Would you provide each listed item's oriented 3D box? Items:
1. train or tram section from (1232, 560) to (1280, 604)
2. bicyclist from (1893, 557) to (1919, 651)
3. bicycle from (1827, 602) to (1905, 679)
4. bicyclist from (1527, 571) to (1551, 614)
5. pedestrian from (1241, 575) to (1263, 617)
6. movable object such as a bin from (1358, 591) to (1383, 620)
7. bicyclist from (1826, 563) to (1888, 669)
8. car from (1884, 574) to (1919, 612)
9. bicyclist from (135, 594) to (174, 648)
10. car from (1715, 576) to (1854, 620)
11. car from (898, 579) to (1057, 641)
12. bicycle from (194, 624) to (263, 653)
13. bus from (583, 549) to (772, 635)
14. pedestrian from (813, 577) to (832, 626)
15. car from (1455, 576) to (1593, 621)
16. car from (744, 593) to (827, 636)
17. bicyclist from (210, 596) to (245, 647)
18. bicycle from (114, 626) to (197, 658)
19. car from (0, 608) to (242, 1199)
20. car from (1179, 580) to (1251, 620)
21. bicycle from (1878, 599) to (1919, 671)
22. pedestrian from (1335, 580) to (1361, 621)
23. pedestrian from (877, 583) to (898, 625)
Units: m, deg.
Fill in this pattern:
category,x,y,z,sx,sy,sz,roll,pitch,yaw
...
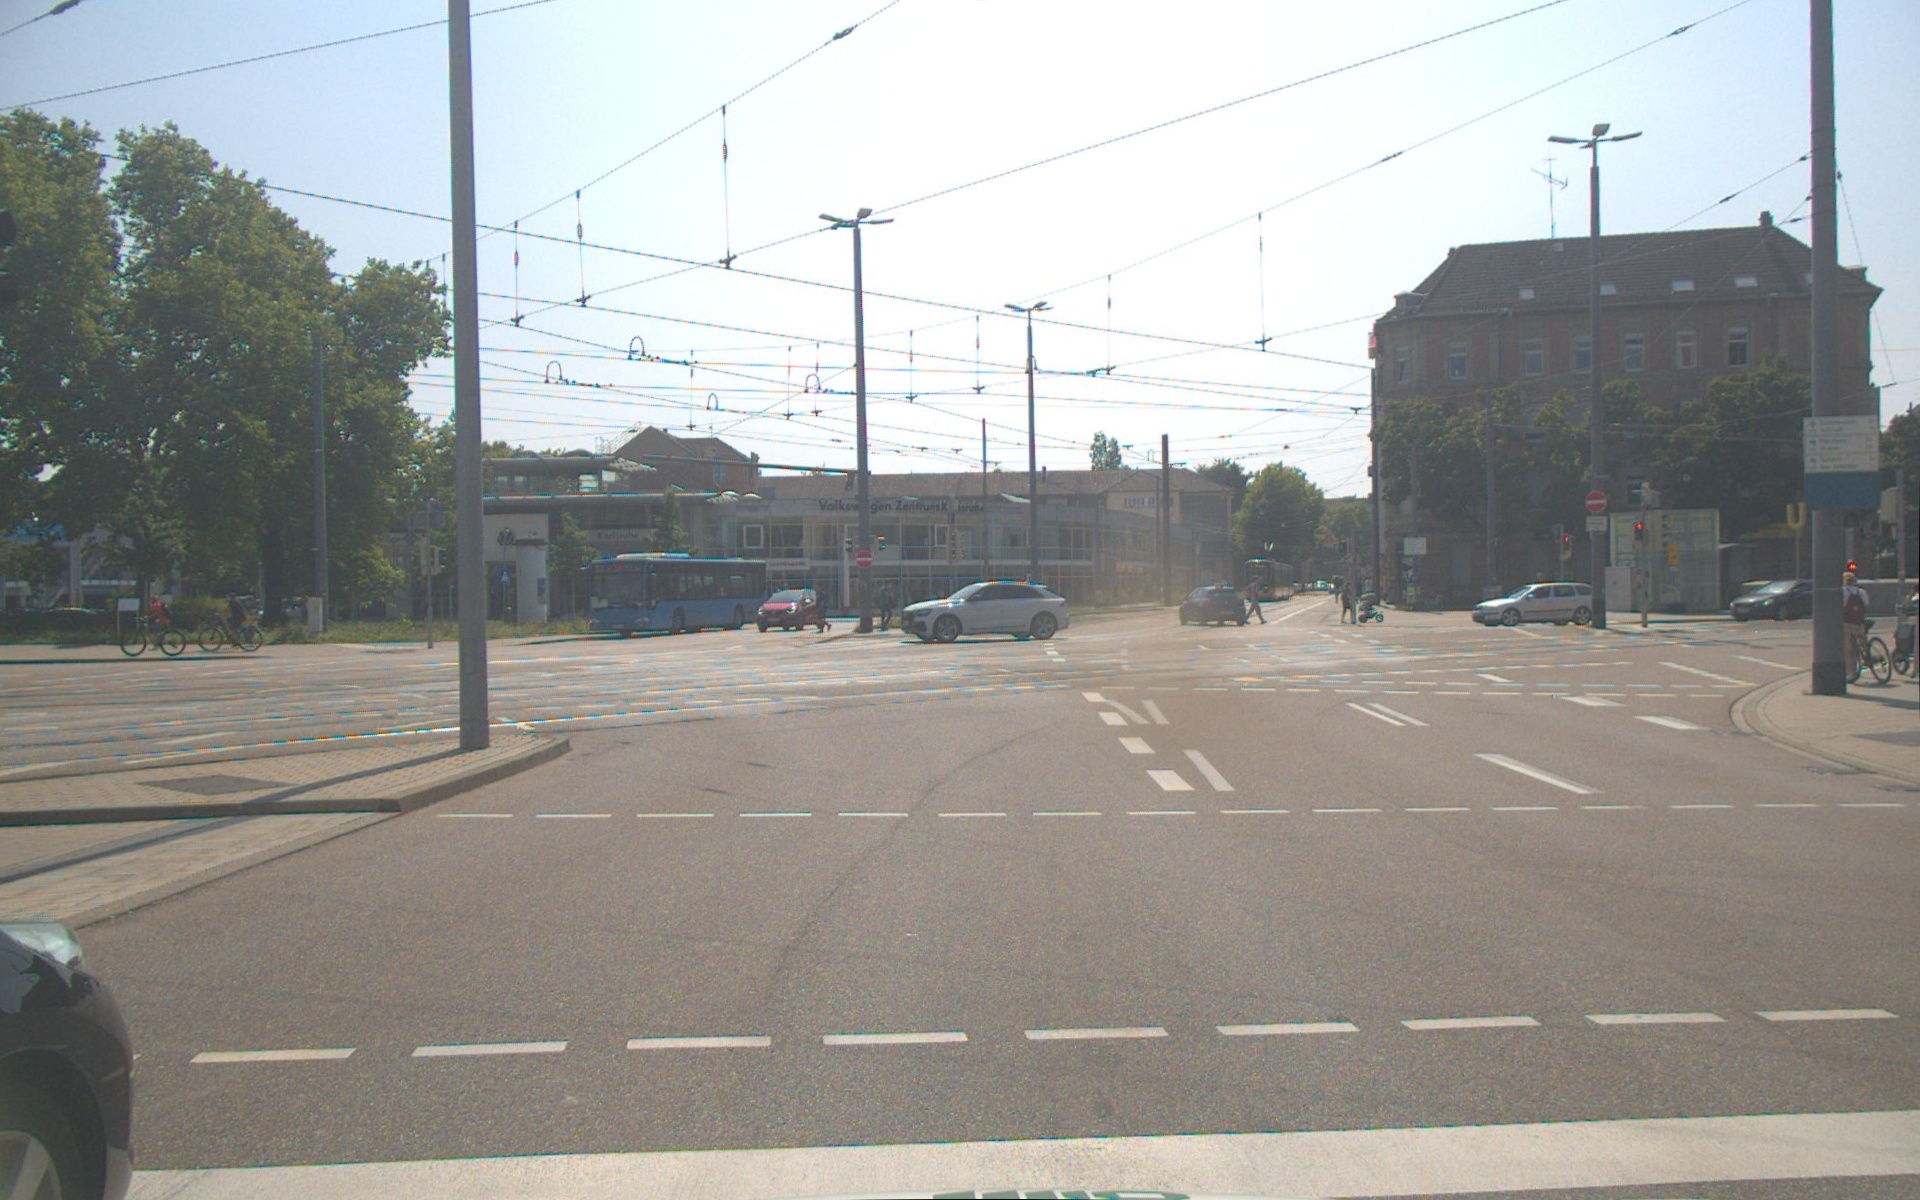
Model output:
category,x,y,z,sx,sy,sz,roll,pitch,yaw
train or tram section,25.439,-1.505,141.765,2.534,3.578,10.904,-1,0,18
bicyclist,14.840,0.057,25.509,0.519,1.417,0.894,-1,0,11
bicycle,13.390,0.580,24.479,0.525,1.073,1.655,-1,0,12
bicyclist,21.336,-0.286,60.949,0.603,1.555,0.517,-1,0,-25
pedestrian,11.392,-0.160,64.479,0.686,1.631,0.572,-1,0,-8
movable object such as a bin,15.944,0.211,64.201,0.798,1.096,0.510,-1,0,-11
bicyclist,13.402,0.236,24.737,0.614,1.544,0.712,-1,0,11
car,37.923,-0.301,64.017,4.137,1.440,1.761,-1,0,-26
bicyclist,-22.691,0.583,46.593,0.856,1.509,0.496,-1,0,-13
car,29.653,-0.084,59.476,4.684,1.440,1.765,-1,0,-20
car,0.503,0.275,47.592,4.256,1.646,1.745,-1,0,-19
bicycle,-21.734,1.135,49.174,1.828,0.816,0.604,-1,0,-19
bus,-11.118,-0.343,66.856,2.508,3.136,12.031,-1,0,16
pedestrian,-4.872,0.060,58.474,0.544,1.713,0.452,-1,0,-19
car,19.200,-0.058,56.430,4.094,1.440,1.774,-1,0,-5
car,-6.673,0.539,63.732,1.713,1.579,4.002,-1,0,17
bicyclist,-21.770,0.641,49.162,0.857,1.501,0.543,-1,0,-19
bicycle,-22.658,1.177,46.597,2.013,0.816,0.478,-1,0,-13
car,-2.533,0.729,1.738,1.728,1.412,3.783,1,0,3
car,9.529,-0.016,62.098,1.561,1.418,3.992,-1,0,-8
bicycle,14.934,0.526,25.869,0.525,1.073,1.655,-1,0,12
pedestrian,15.089,0.029,64.315,0.834,1.572,0.528,-1,0,-9
pedestrian,-2.559,0.135,58.472,0.666,1.468,0.364,-1,0,-18
